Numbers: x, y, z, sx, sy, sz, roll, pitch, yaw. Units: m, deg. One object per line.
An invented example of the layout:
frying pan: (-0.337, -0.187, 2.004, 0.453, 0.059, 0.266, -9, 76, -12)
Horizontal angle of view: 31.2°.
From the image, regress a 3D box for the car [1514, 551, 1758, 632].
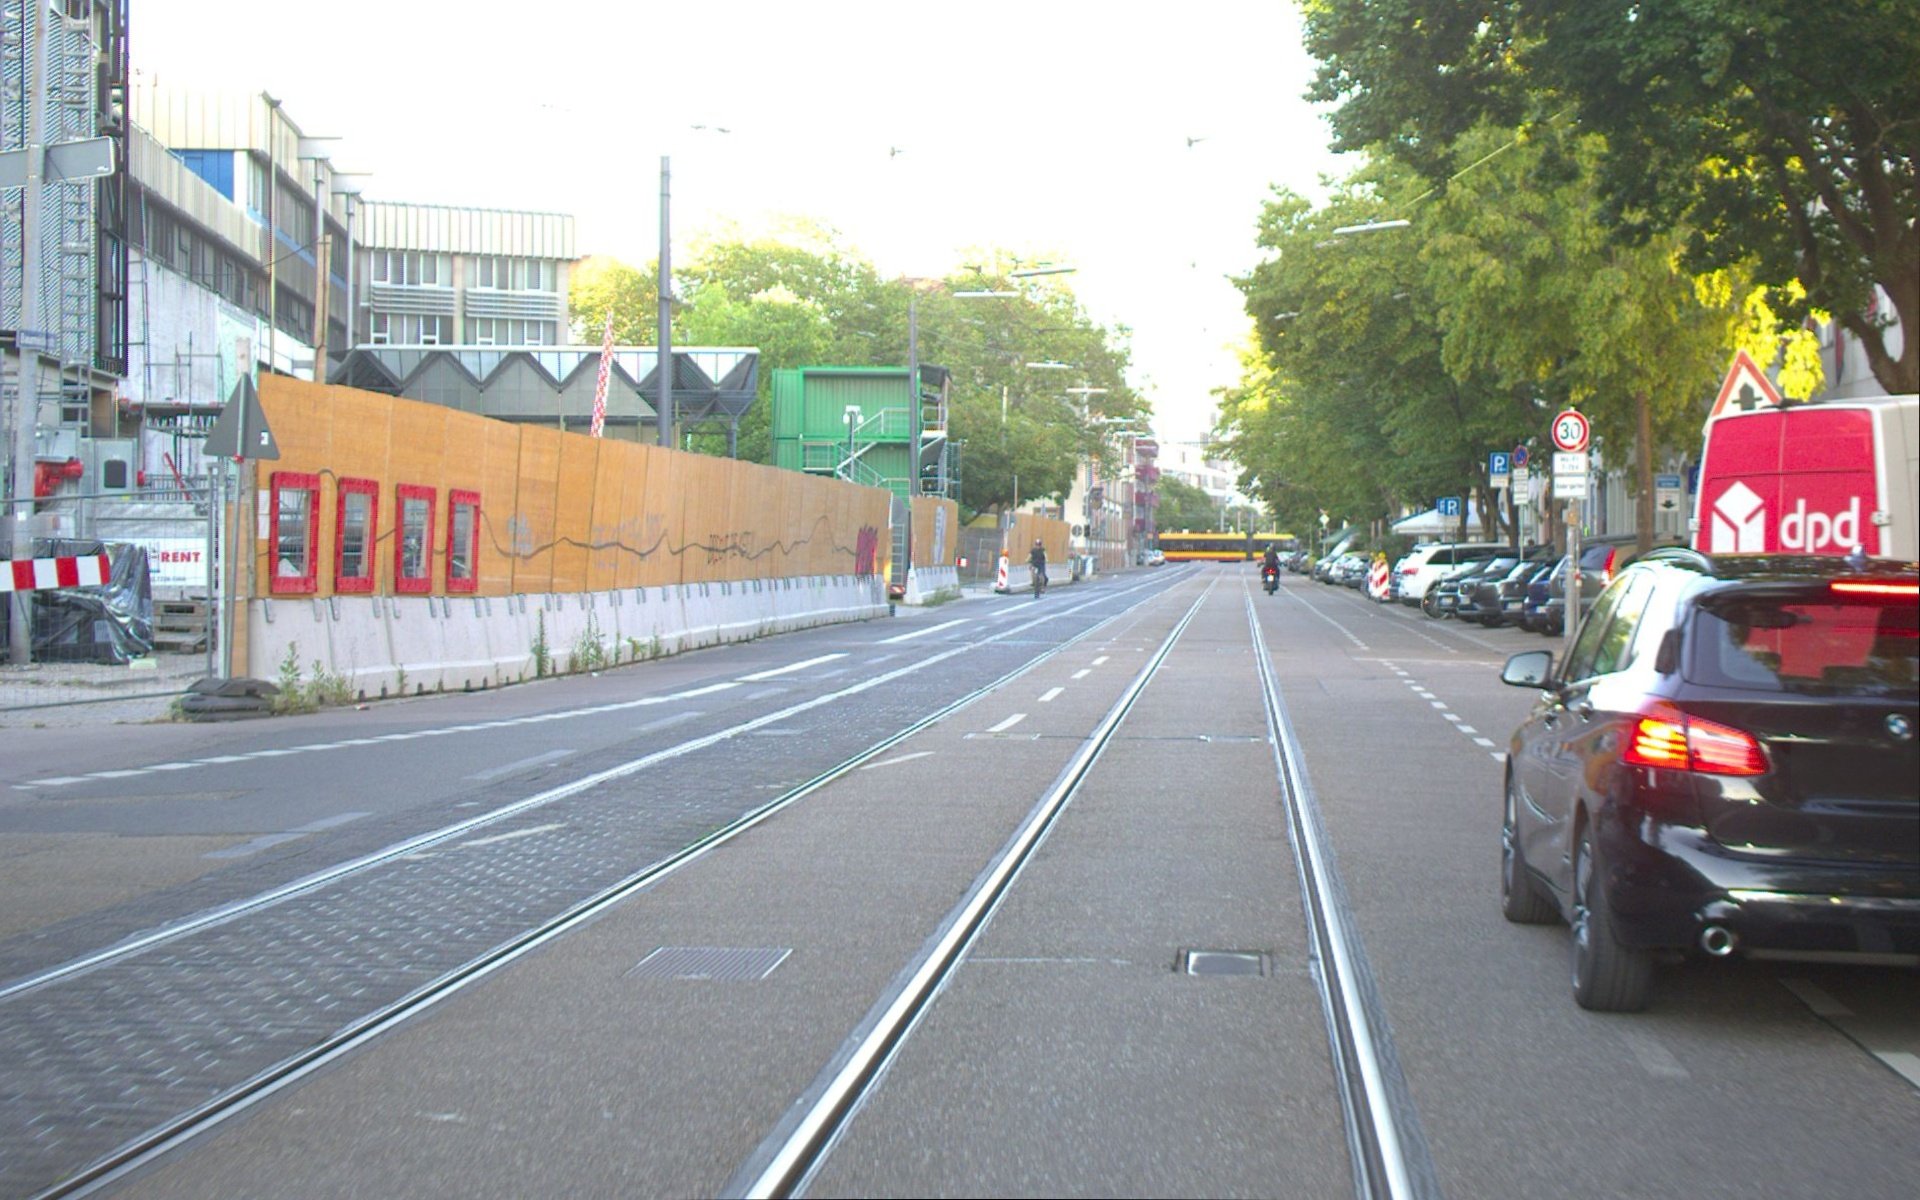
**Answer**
car: (12.039, -0.153, 61.299, 3.941, 1.401, 1.635, 0, 1, -11)

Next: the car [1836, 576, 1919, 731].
car: (9.812, 0.391, 30.832, 3.769, 1.305, 1.655, -3, 1, -34)

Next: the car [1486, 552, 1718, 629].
car: (12.032, -0.179, 64.508, 3.941, 1.401, 1.635, 0, 1, -11)

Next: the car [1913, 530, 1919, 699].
car: (7.510, 0.393, 19.008, 3.941, 1.759, 1.841, -3, 1, -21)

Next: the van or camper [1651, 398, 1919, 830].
van or camper: (7.369, -0.041, 22.373, 5.531, 2.522, 2.087, -3, 1, -30)

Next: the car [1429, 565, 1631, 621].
car: (12.182, -0.151, 73.624, 3.941, 1.171, 1.635, 0, 1, -9)

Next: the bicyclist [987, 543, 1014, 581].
bicyclist: (1.475, -1.375, 124.646, 0.944, 1.341, 1.111, 0, 1, 2)

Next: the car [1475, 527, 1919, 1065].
car: (3.035, 0.589, 12.637, 1.882, 1.614, 4.000, 3, 1, 4)

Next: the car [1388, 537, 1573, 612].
car: (12.149, -0.604, 80.374, 3.941, 1.716, 1.635, 0, 1, -9)

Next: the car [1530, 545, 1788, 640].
car: (11.815, -0.128, 58.194, 3.941, 1.573, 1.635, 0, 1, -11)

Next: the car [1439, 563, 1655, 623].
car: (11.740, -0.144, 68.842, 3.941, 1.171, 1.635, 0, 1, -11)

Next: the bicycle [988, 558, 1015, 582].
bicycle: (1.519, -1.109, 125.471, 0.948, 0.846, 2.697, 0, 1, 2)
